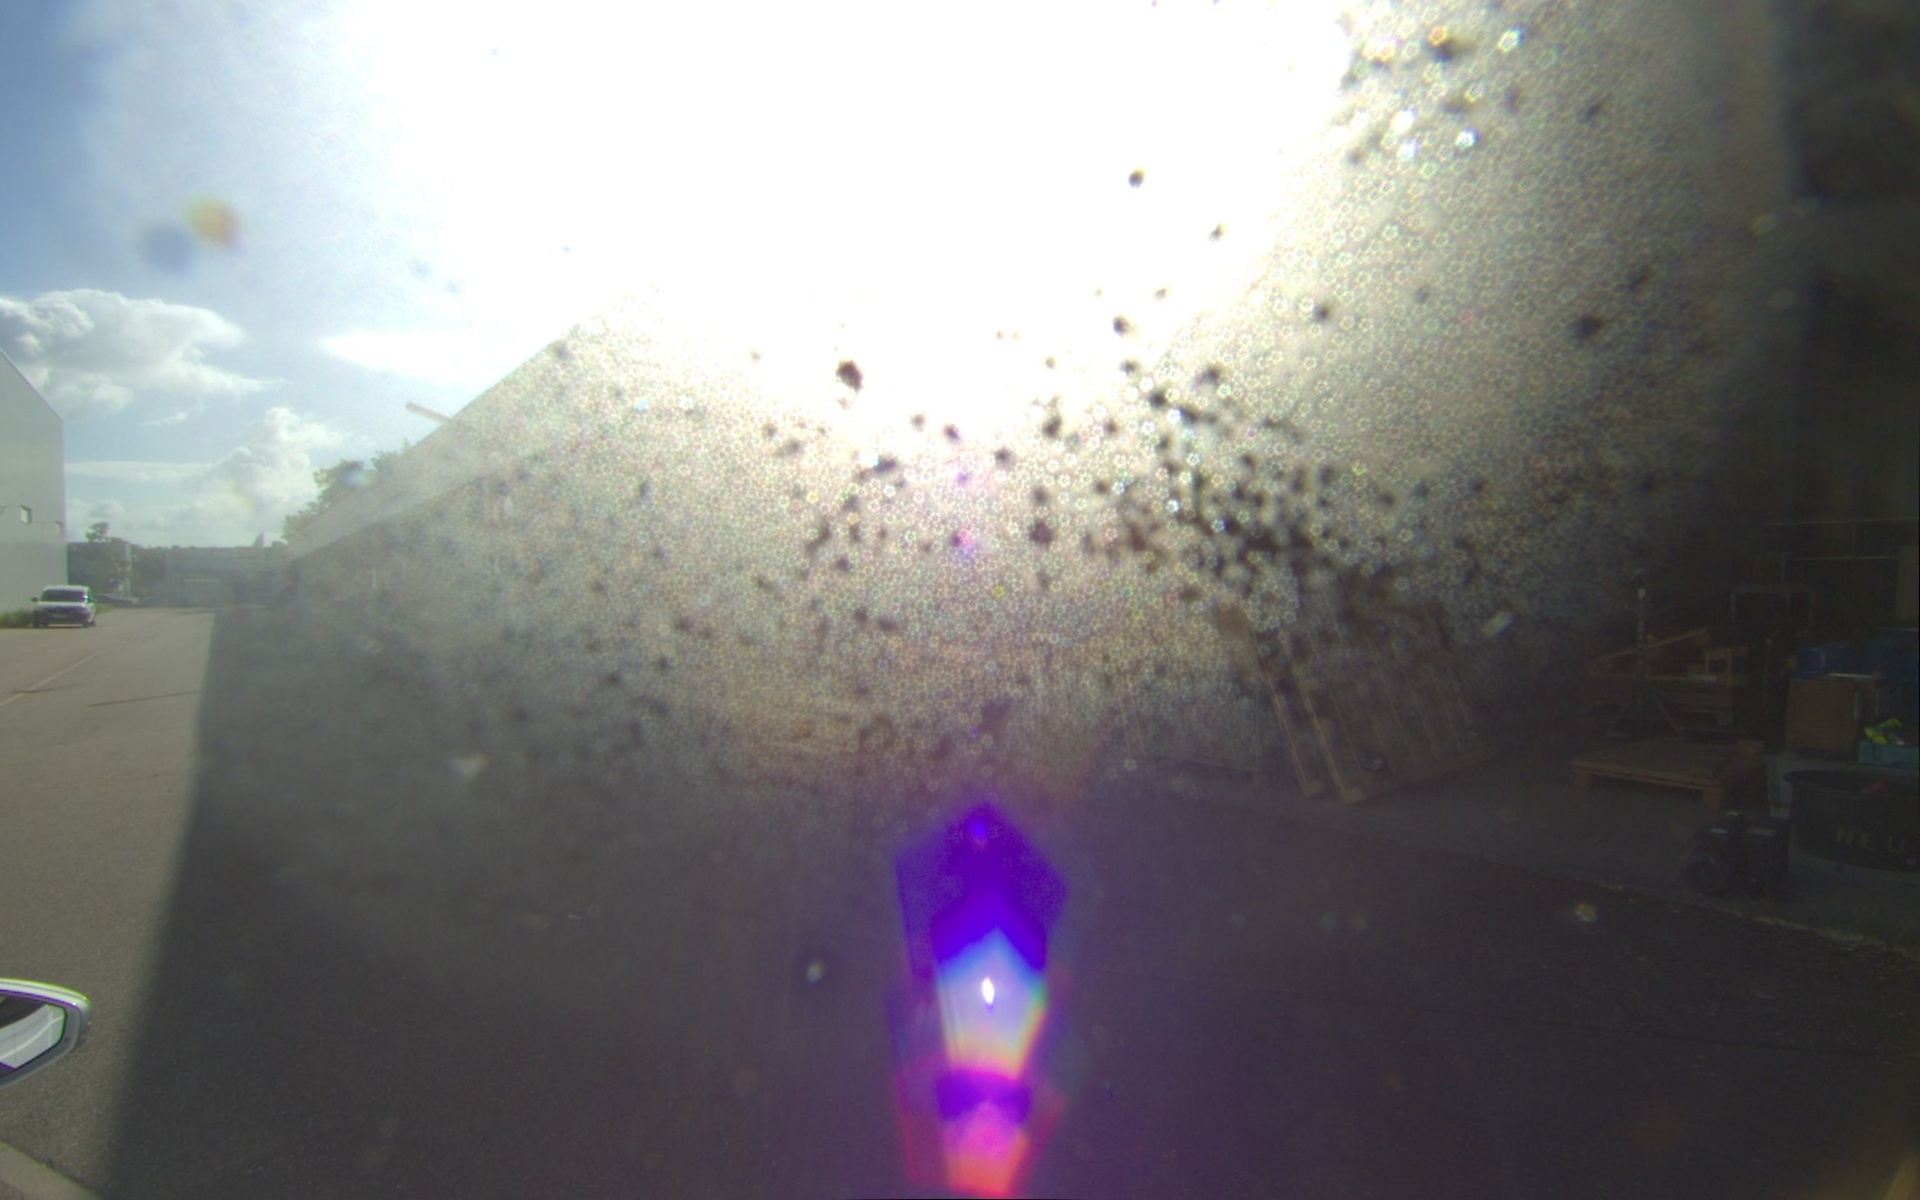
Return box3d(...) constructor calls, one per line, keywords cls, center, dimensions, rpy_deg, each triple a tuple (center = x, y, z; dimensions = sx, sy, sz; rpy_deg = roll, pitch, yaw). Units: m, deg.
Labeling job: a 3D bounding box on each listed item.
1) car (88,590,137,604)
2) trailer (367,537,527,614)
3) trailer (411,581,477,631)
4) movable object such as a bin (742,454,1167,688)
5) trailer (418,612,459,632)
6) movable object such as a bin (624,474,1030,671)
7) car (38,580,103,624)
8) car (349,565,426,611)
box3d(cls="car", center=(-90.703, -0.375, 107.237), dimensions=(3.851, 1.481, 1.610), rpy_deg=(-1, 1, -38))
box3d(cls="trailer", center=(-24.420, -1.189, 47.836), dimensions=(6.332, 3.417, 2.802), rpy_deg=(-2, 2, -38))
box3d(cls="trailer", center=(-17.251, 0.192, 33.463), dimensions=(1.534, 1.539, 1.895), rpy_deg=(1, 2, -41))
box3d(cls="movable object such as a bin", center=(0.103, -0.451, 15.603), dimensions=(6.296, 2.945, 2.665), rpy_deg=(-2, 2, -37))
box3d(cls="trailer", center=(-15.883, 0.663, 30.496), dimensions=(0.963, 0.575, 0.726), rpy_deg=(2, 1, -42))
box3d(cls="movable object such as a bin", center=(-2.196, -0.507, 18.137), dimensions=(6.872, 2.945, 2.665), rpy_deg=(-2, 2, -37))
box3d(cls="car", center=(-39.025, 0.059, 44.014), dimensions=(1.892, 1.818, 3.967), rpy_deg=(-1, 1, -38))
box3d(cls="car", center=(-32.003, -0.707, 55.973), dimensions=(3.472, 2.475, 1.985), rpy_deg=(-2, 2, -37))
